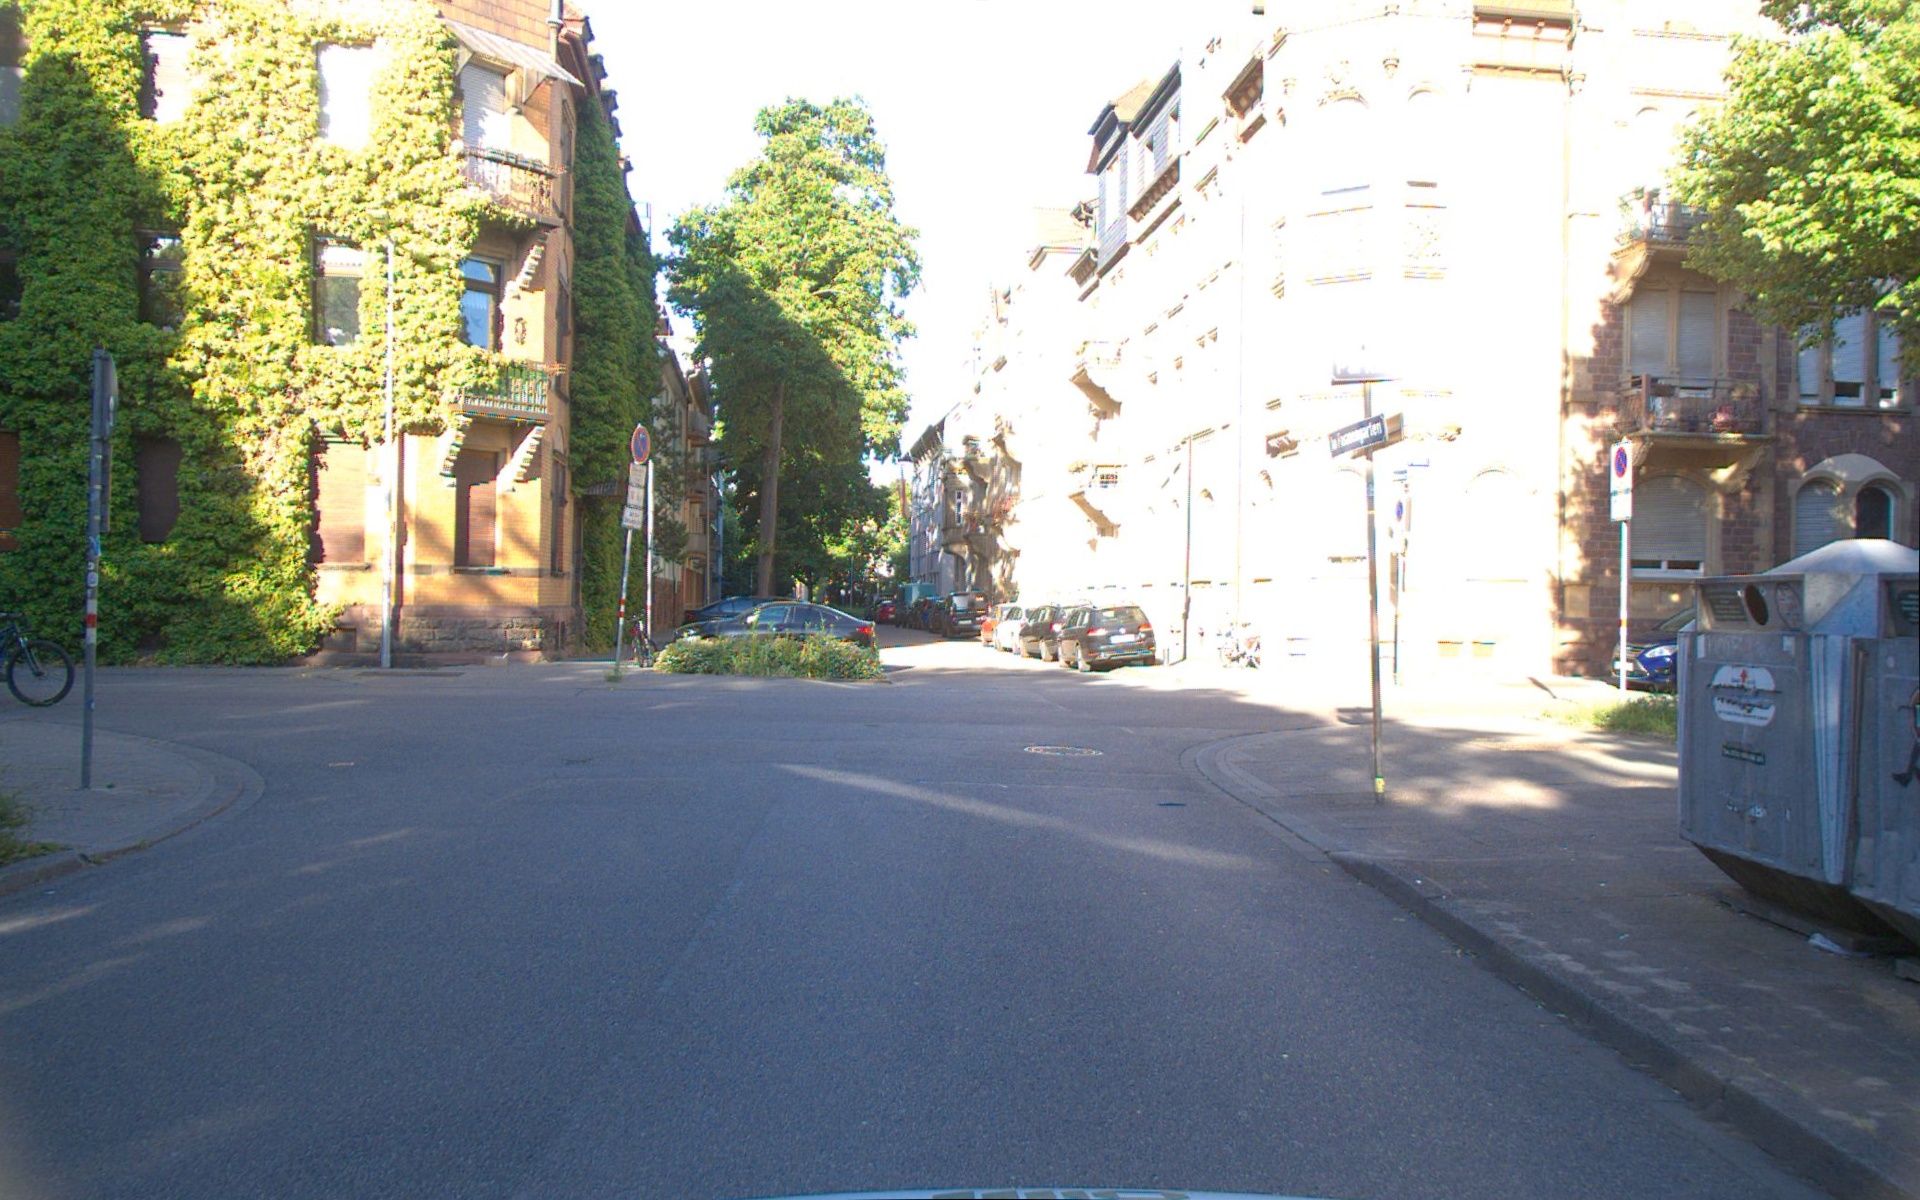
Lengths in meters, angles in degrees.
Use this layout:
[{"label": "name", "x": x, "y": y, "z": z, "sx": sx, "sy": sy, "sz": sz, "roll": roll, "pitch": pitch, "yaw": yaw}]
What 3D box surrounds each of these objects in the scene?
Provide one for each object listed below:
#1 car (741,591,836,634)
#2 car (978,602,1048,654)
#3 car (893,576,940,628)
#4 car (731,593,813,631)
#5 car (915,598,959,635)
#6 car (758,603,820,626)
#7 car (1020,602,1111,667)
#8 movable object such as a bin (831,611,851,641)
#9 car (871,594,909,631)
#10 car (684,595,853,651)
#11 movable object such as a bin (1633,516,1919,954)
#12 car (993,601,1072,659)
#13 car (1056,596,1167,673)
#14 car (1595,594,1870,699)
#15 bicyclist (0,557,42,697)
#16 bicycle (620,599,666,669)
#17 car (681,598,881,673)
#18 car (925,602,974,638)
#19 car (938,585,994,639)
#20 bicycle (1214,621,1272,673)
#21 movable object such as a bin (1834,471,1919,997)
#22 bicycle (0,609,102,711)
[{"label": "car", "x": -7.014, "y": 0.517, "z": 67.571, "sx": 3.732, "sy": 1.603, "sz": 1.706, "roll": 2, "pitch": -1, "yaw": -11}, {"label": "car", "x": 1.684, "y": 0.892, "z": 54.004, "sx": 1.704, "sy": 1.609, "sz": 3.994, "roll": 2, "pitch": -1, "yaw": -6}, {"label": "car", "x": -2.434, "y": 0.128, "z": 91.706, "sx": 2.124, "sy": 2.738, "sz": 4.784, "roll": 2, "pitch": -1, "yaw": -6}, {"label": "car", "x": -8.799, "y": 0.568, "z": 77.411, "sx": 3.731, "sy": 1.603, "sz": 1.707, "roll": 2, "pitch": -1, "yaw": -9}, {"label": "car", "x": -1.152, "y": 0.800, "z": 81.376, "sx": 1.768, "sy": 1.708, "sz": 3.994, "roll": 2, "pitch": -1, "yaw": -6}, {"label": "car", "x": -10.680, "y": 0.906, "z": 103.367, "sx": 3.731, "sy": 1.262, "sz": 1.707, "roll": 2, "pitch": -1, "yaw": -9}, {"label": "car", "x": 2.766, "y": 0.893, "z": 44.051, "sx": 1.704, "sy": 1.609, "sz": 3.994, "roll": 2, "pitch": -1, "yaw": -6}, {"label": "movable object such as a bin", "x": -4.280, "y": 0.938, "z": 59.609, "sx": 0.618, "sy": 1.071, "sz": 0.566, "roll": 2, "pitch": -1, "yaw": -12}, {"label": "car", "x": -4.641, "y": 0.823, "z": 108.679, "sx": 2.124, "sy": 2.276, "sz": 4.784, "roll": 2, "pitch": -1, "yaw": -6}, {"label": "car", "x": -5.576, "y": 0.664, "z": 48.109, "sx": 4.745, "sy": 1.460, "sz": 1.707, "roll": 2, "pitch": -1, "yaw": -9}, {"label": "movable object such as a bin", "x": 4.093, "y": 0.550, "z": 7.259, "sx": 1.554, "sy": 1.686, "sz": 1.639, "roll": 2, "pitch": -1, "yaw": -2}, {"label": "car", "x": 2.128, "y": 0.875, "z": 49.408, "sx": 1.704, "sy": 1.609, "sz": 3.994, "roll": 2, "pitch": -1, "yaw": -6}, {"label": "car", "x": 3.396, "y": 0.751, "z": 37.774, "sx": 1.704, "sy": 1.609, "sz": 3.994, "roll": 2, "pitch": -1, "yaw": -6}, {"label": "car", "x": 13.645, "y": 0.804, "z": 29.305, "sx": 4.169, "sy": 1.650, "sz": 1.731, "roll": 2, "pitch": 1, "yaw": -11}, {"label": "bicyclist", "x": -11.067, "y": 0.288, "z": 18.707, "sx": 0.951, "sy": 1.553, "sz": 0.719, "roll": 2, "pitch": -1, "yaw": -10}, {"label": "bicycle", "x": -6.027, "y": 0.637, "z": 31.496, "sx": 0.551, "sy": 1.290, "sz": 1.603, "roll": 0, "pitch": 0, "yaw": 1}, {"label": "car", "x": -3.905, "y": 0.761, "z": 35.939, "sx": 4.164, "sy": 1.460, "sz": 1.996, "roll": 2, "pitch": -1, "yaw": -9}, {"label": "car", "x": -0.489, "y": 0.884, "z": 74.725, "sx": 1.768, "sy": 1.541, "sz": 3.994, "roll": 2, "pitch": -1, "yaw": -6}, {"label": "car", "x": 0.211, "y": 0.485, "z": 66.357, "sx": 1.768, "sy": 2.039, "sz": 3.994, "roll": 2, "pitch": -1, "yaw": -6}, {"label": "bicycle", "x": 5.898, "y": 0.968, "z": 34.526, "sx": 0.506, "sy": 1.015, "sz": 1.568, "roll": 2, "pitch": -1, "yaw": -18}, {"label": "movable object such as a bin", "x": 3.972, "y": 0.486, "z": 5.708, "sx": 1.124, "sy": 1.859, "sz": 1.386, "roll": 2, "pitch": -1, "yaw": -2}, {"label": "bicycle", "x": -10.890, "y": 0.662, "z": 18.773, "sx": 1.926, "sy": 1.091, "sz": 0.556, "roll": 2, "pitch": 2, "yaw": -10}]
